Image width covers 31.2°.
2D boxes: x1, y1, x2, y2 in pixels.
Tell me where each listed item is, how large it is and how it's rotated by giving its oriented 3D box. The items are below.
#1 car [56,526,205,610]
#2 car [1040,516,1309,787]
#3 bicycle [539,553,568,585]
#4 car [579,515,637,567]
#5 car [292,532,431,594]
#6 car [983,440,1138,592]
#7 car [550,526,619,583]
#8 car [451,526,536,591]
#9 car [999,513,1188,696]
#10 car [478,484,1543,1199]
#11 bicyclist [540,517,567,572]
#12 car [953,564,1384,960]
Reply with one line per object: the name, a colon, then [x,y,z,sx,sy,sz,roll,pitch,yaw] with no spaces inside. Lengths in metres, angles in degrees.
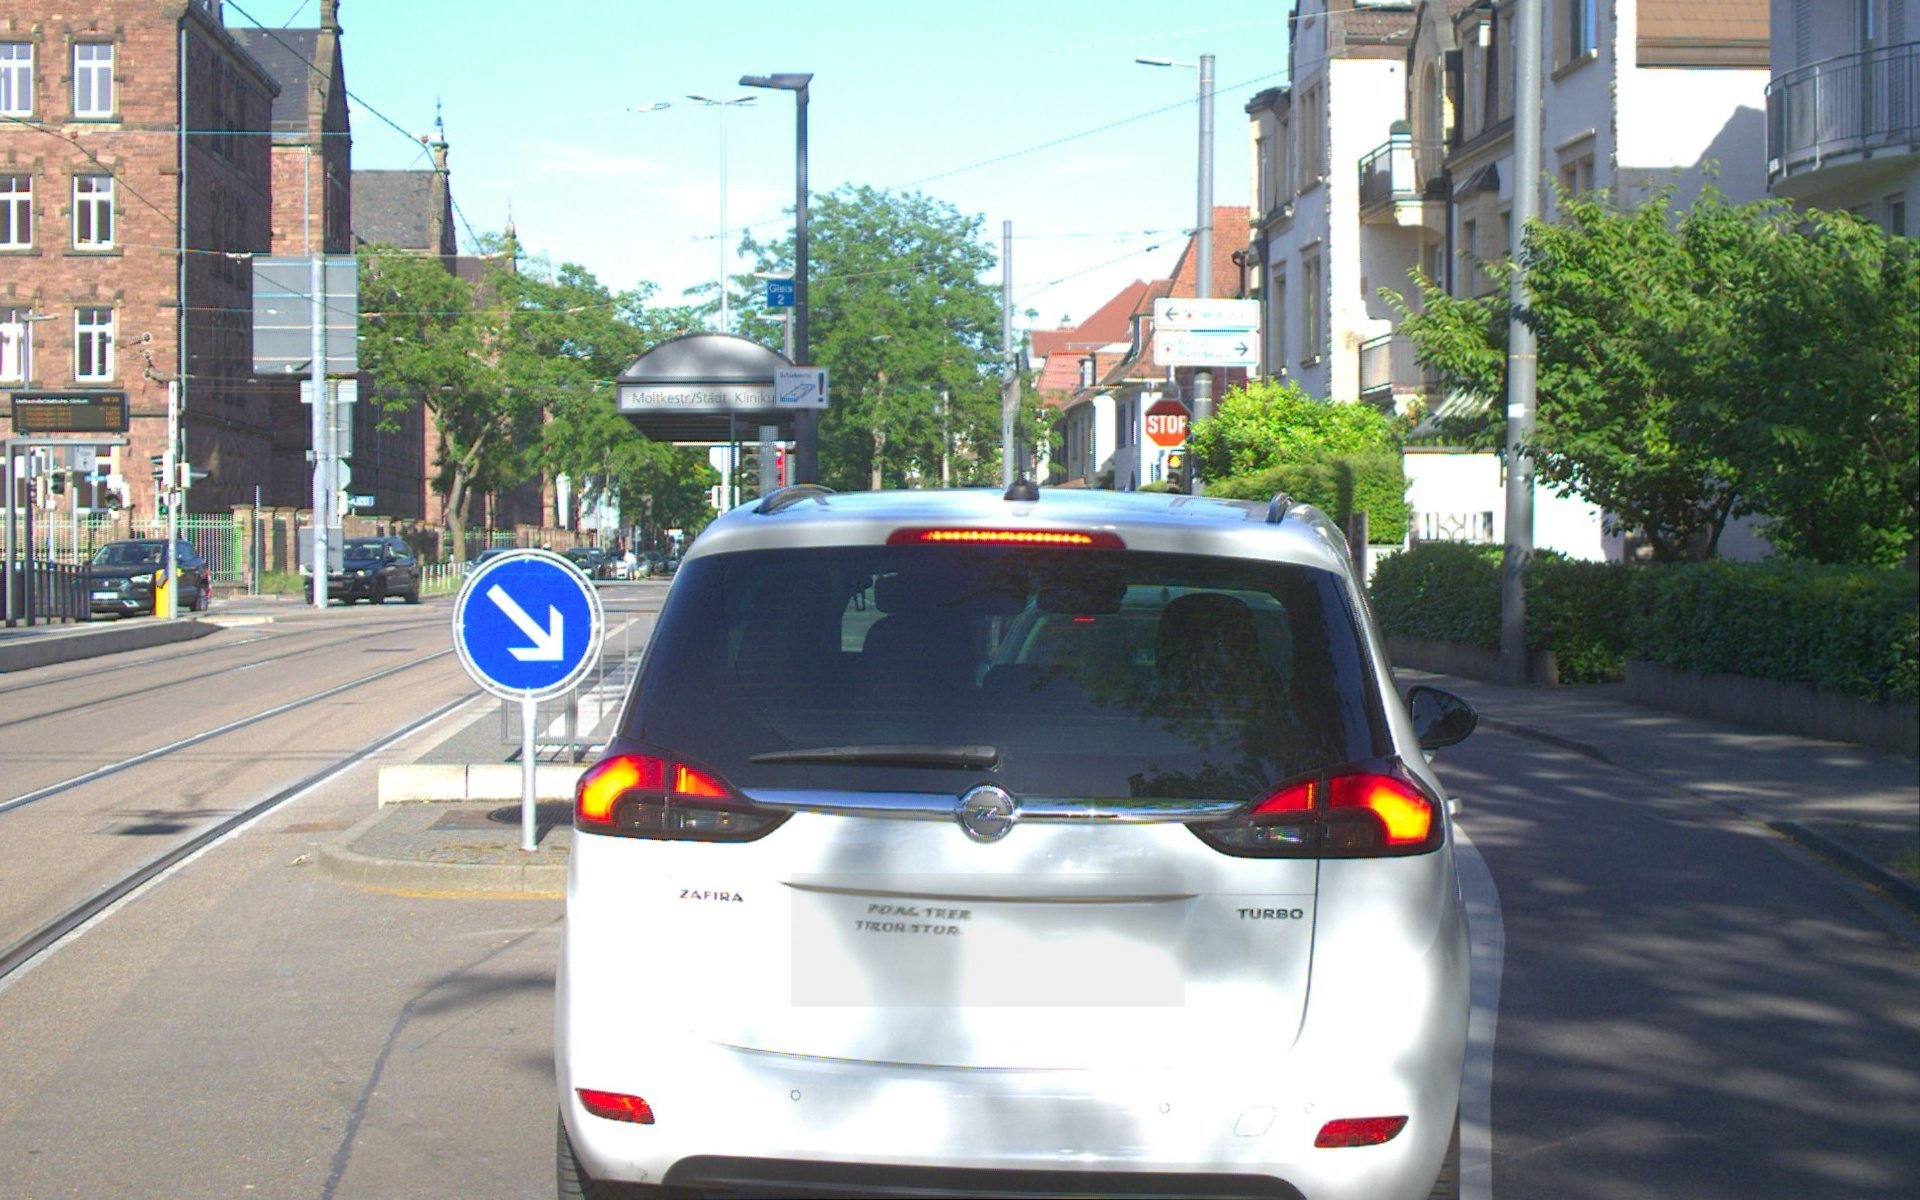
car: [-16.615,-0.626,69.071,1.827,1.611,4.327,1,0,2]
car: [1.352,0.273,22.901,1.569,1.609,3.784,2,1,1]
bicycle: [-12.849,-0.976,108.622,0.725,0.962,2.061,1,2,-2]
car: [-14.003,-2.339,136.945,1.993,2.007,4.000,1,1,-2]
car: [-14.396,-0.884,82.913,1.828,1.441,4.325,1,0,12]
car: [1.134,-1.004,40.344,1.596,1.629,3.902,2,2,-1]
car: [-13.556,-1.648,124.332,1.993,2.007,4.000,1,1,1]
car: [-13.090,-1.152,96.689,1.827,1.782,4.327,1,0,-1]
car: [1.256,0.009,33.750,1.596,1.629,3.901,2,1,-1]
car: [0.247,0.558,8.094,1.878,1.579,3.999,1,1,5]
bicyclist: [-12.843,-1.758,108.620,0.725,1.682,1.170,1,2,-2]
car: [0.943,0.587,14.793,1.569,1.396,3.783,2,1,5]
